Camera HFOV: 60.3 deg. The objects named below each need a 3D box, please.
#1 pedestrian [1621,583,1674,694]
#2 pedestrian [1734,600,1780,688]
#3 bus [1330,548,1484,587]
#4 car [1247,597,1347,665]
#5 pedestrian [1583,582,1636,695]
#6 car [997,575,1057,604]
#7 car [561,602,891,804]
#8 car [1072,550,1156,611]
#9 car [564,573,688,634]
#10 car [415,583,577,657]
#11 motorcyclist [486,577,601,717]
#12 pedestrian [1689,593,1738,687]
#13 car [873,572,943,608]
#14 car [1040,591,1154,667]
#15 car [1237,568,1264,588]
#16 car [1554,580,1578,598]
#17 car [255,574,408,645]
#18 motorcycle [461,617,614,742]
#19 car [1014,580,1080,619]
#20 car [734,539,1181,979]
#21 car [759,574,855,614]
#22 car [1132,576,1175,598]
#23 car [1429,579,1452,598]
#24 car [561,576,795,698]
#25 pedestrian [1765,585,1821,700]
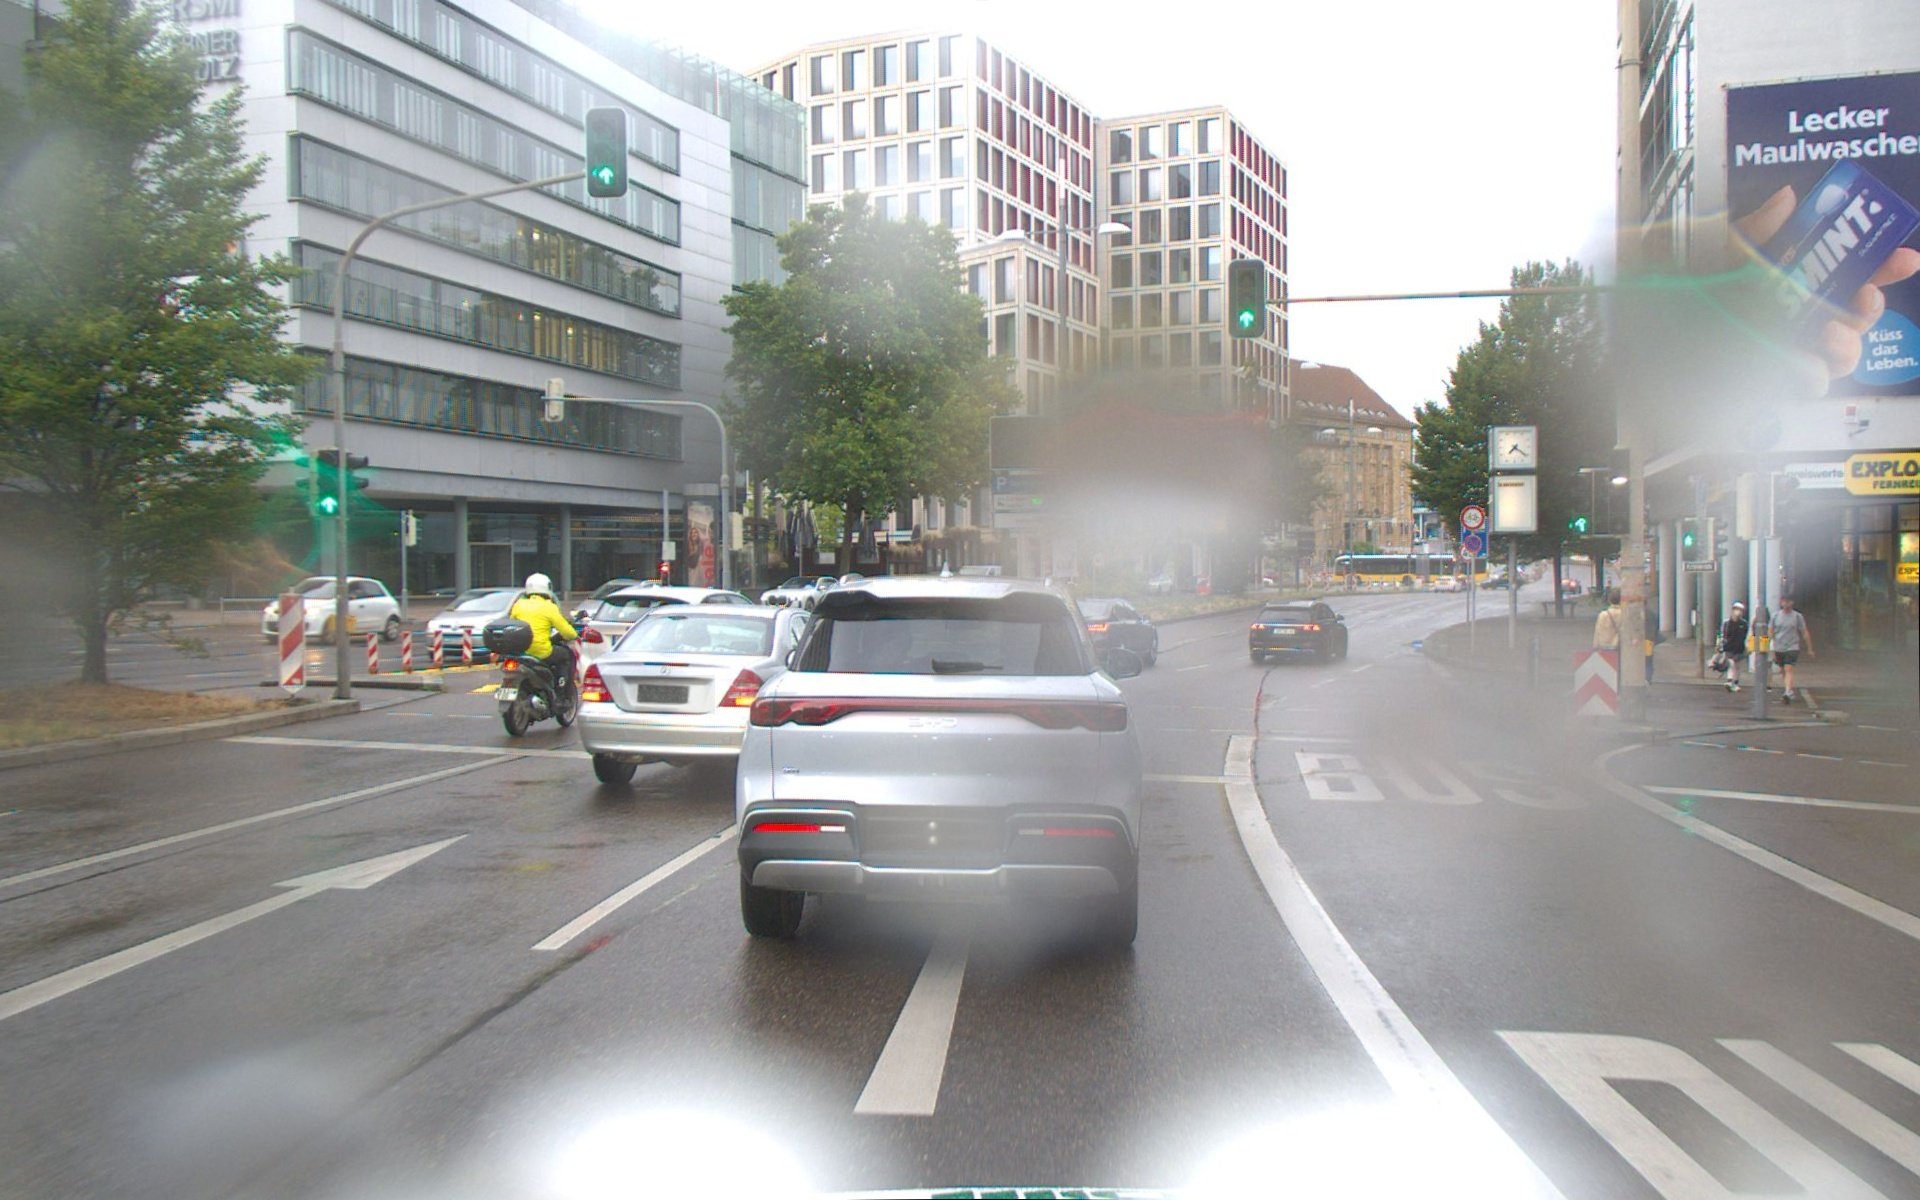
[{"bbox_3d":[11.588,0.628,27.900,0.733,1.829,0.817,0,1,16],"label":"pedestrian"},{"bbox_3d":[14.499,0.784,30.096,0.614,1.570,0.650,1,0,39],"label":"pedestrian"},{"bbox_3d":[51.515,-3.766,190.902,16.622,4.134,4.436,1,-1,23],"label":"bus"},{"bbox_3d":[8.171,0.739,39.877,1.659,1.512,3.999,1,-1,22],"label":"car"},{"bbox_3d":[10.663,0.618,27.183,0.733,1.829,0.817,0,1,16],"label":"pedestrian"},{"bbox_3d":[3.623,-0.573,89.156,1.953,1.514,3.999,0,1,23],"label":"car"},{"bbox_3d":[-1.804,0.771,14.077,1.537,1.432,4.112,1,-1,10],"label":"car"},{"bbox_3d":[5.670,-0.670,60.296,1.952,2.049,4.850,1,-1,19],"label":"car"},{"bbox_3d":[-9.290,0.089,46.352,1.609,1.609,4.088,1,0,18],"label":"car"},{"bbox_3d":[-9.460,0.410,34.049,1.654,1.409,3.871,1,-1,10],"label":"car"},{"bbox_3d":[-4.350,0.483,17.338,0.753,1.404,1.119,1,-1,9],"label":"motorcyclist"},{"bbox_3d":[13.800,0.717,30.283,0.658,1.684,0.650,1,0,39],"label":"pedestrian"},{"bbox_3d":[-2.327,-0.494,75.163,1.597,1.586,4.594,0,1,19],"label":"car"},{"bbox_3d":[2.985,0.609,35.279,1.538,1.512,4.001,1,-1,18],"label":"car"},{"bbox_3d":[28.273,-2.119,160.783,1.575,1.771,3.440,1,-1,28],"label":"car"},{"bbox_3d":[54.857,-1.025,149.727,1.660,1.512,3.996,1,-1,26],"label":"car"},{"bbox_3d":[-15.072,0.246,39.833,1.603,1.598,3.721,1,-1,13],"label":"car"},{"bbox_3d":[-4.381,0.795,17.328,0.783,1.205,2.030,1,-1,9],"label":"motorcycle"},{"bbox_3d":[3.496,-0.039,65.657,1.597,1.462,3.909,0,1,19],"label":"car"},{"bbox_3d":[0.016,0.647,8.542,1.739,1.708,4.000,1,-1,1],"label":"car"},{"bbox_3d":[-6.041,-0.278,65.962,1.776,1.536,5.197,0,1,19],"label":"car"},{"bbox_3d":[13.950,-0.946,119.110,1.953,1.514,3.999,0,1,23],"label":"car"},{"bbox_3d":[43.884,-1.008,150.911,1.848,1.672,4.002,1,0,18],"label":"car"},{"bbox_3d":[-3.785,0.490,22.940,1.670,1.512,4.003,1,-1,15],"label":"car"},{"bbox_3d":[13.542,0.674,26.874,0.658,1.825,0.769,1,0,39],"label":"pedestrian"}]
